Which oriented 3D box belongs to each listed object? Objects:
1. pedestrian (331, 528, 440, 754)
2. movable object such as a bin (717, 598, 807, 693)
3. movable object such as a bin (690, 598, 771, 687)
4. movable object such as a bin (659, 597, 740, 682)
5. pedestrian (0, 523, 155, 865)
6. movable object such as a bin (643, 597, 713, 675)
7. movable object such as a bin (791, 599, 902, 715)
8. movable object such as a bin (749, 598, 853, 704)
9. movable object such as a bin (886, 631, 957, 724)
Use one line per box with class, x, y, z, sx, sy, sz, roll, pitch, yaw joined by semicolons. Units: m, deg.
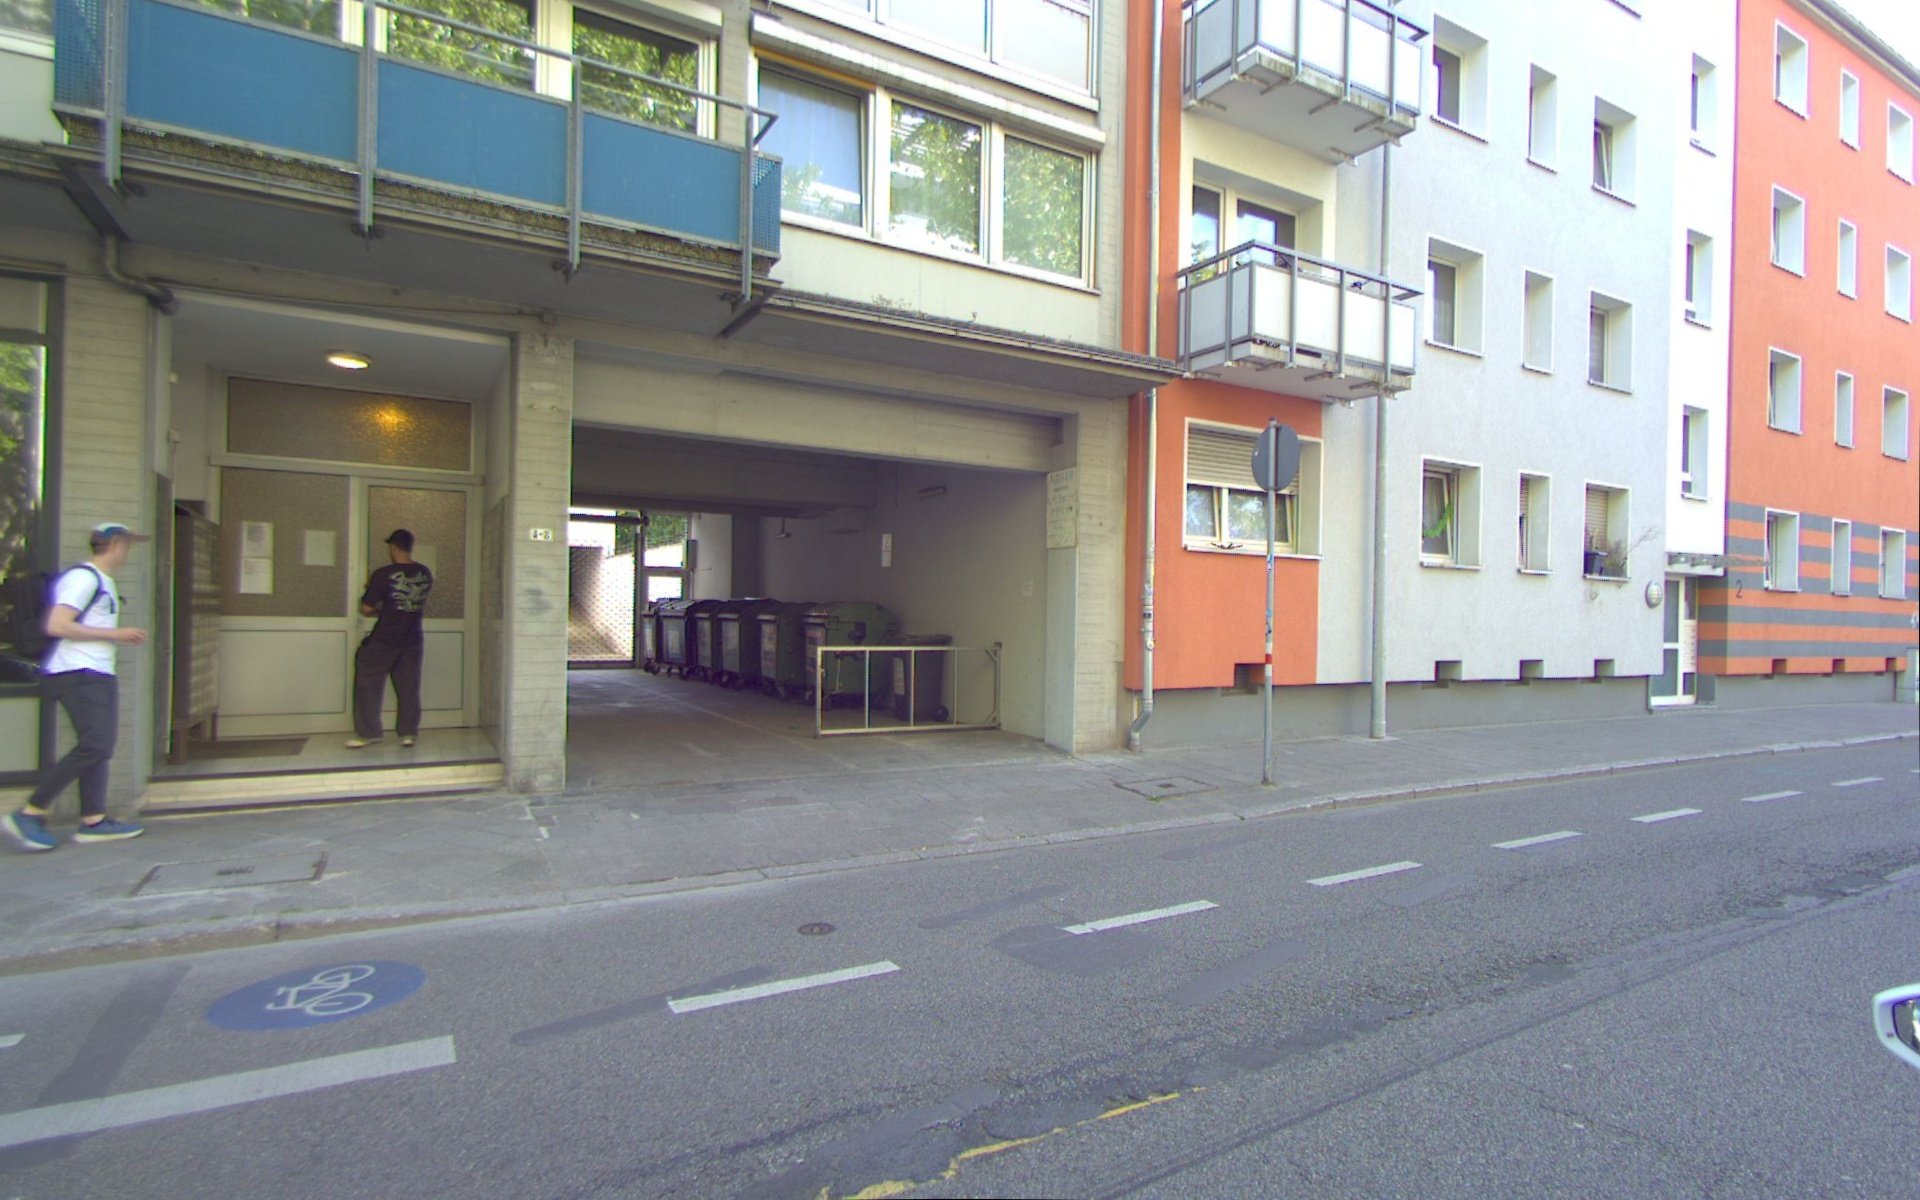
pedestrian;-4.651;0.319;8.135;0.656;1.736;0.542;1;0;-41
movable object such as a bin;-3.286;0.730;16.644;1.167;1.503;1.073;1;0;-30
movable object such as a bin;-4.041;0.727;17.631;1.080;1.503;1.159;1;0;-30
movable object such as a bin;-4.861;0.717;18.716;1.167;1.503;1.215;1;0;-30
pedestrian;-5.157;0.498;5.699;0.873;1.824;0.593;1;2;-43
movable object such as a bin;-5.614;0.711;20.009;1.167;1.503;0.819;1;0;-30
movable object such as a bin;-1.567;0.745;13.765;1.086;1.503;1.251;1;0;-30
movable object such as a bin;-2.405;0.737;15.149;1.167;1.503;1.252;1;0;-30
movable object such as a bin;-0.479;0.947;12.466;0.687;1.094;0.579;1;0;-30
